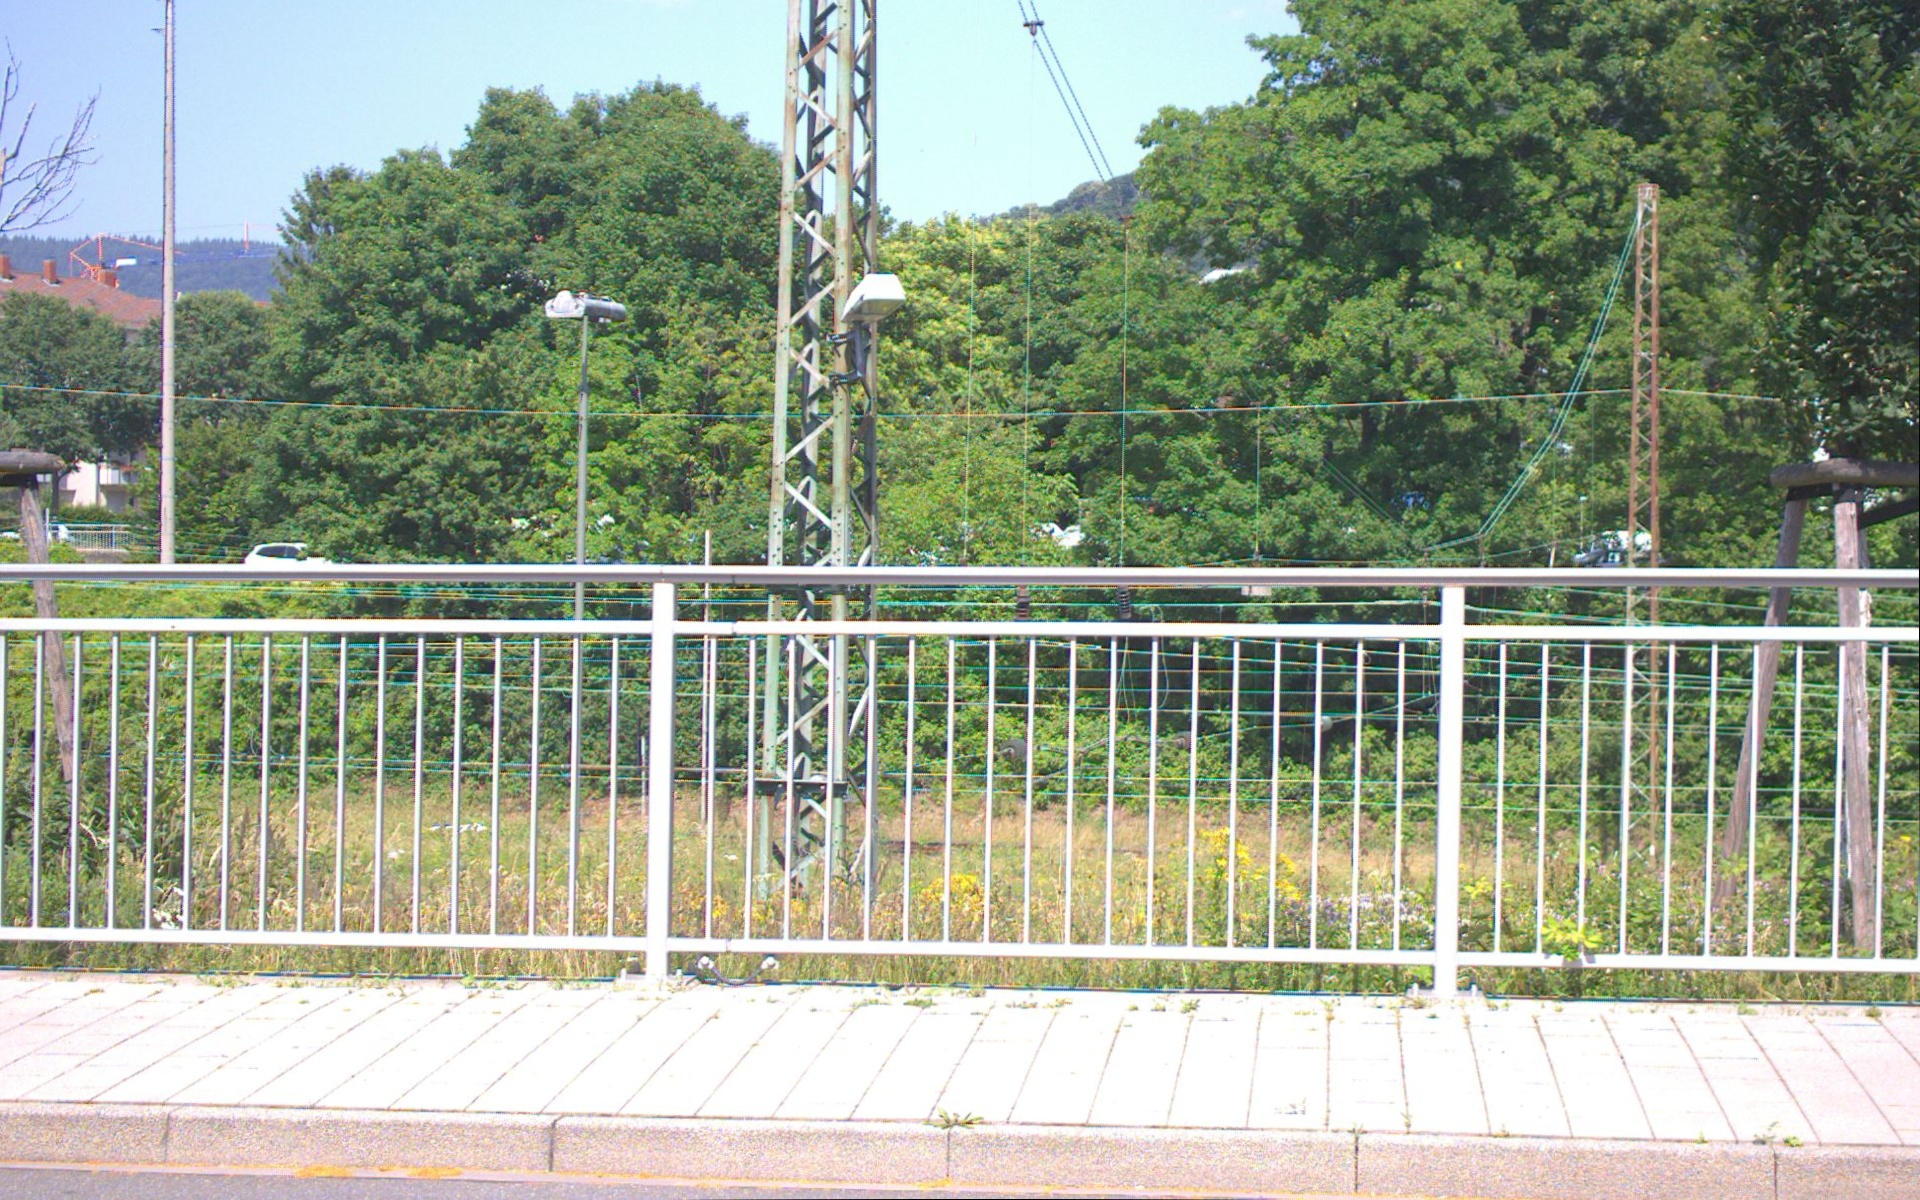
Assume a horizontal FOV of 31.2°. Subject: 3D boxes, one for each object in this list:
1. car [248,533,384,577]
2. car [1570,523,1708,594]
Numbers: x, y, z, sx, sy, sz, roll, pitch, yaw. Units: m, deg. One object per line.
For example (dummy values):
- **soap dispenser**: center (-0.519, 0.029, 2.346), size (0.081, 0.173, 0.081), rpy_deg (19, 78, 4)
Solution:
- **car**: center (-20.776, -1.465, 110.841), size (4.311, 1.362, 1.862), rpy_deg (1, 1, 35)
- **car**: center (21.112, -1.279, 106.861), size (3.926, 2.007, 1.753), rpy_deg (-1, -4, 24)
